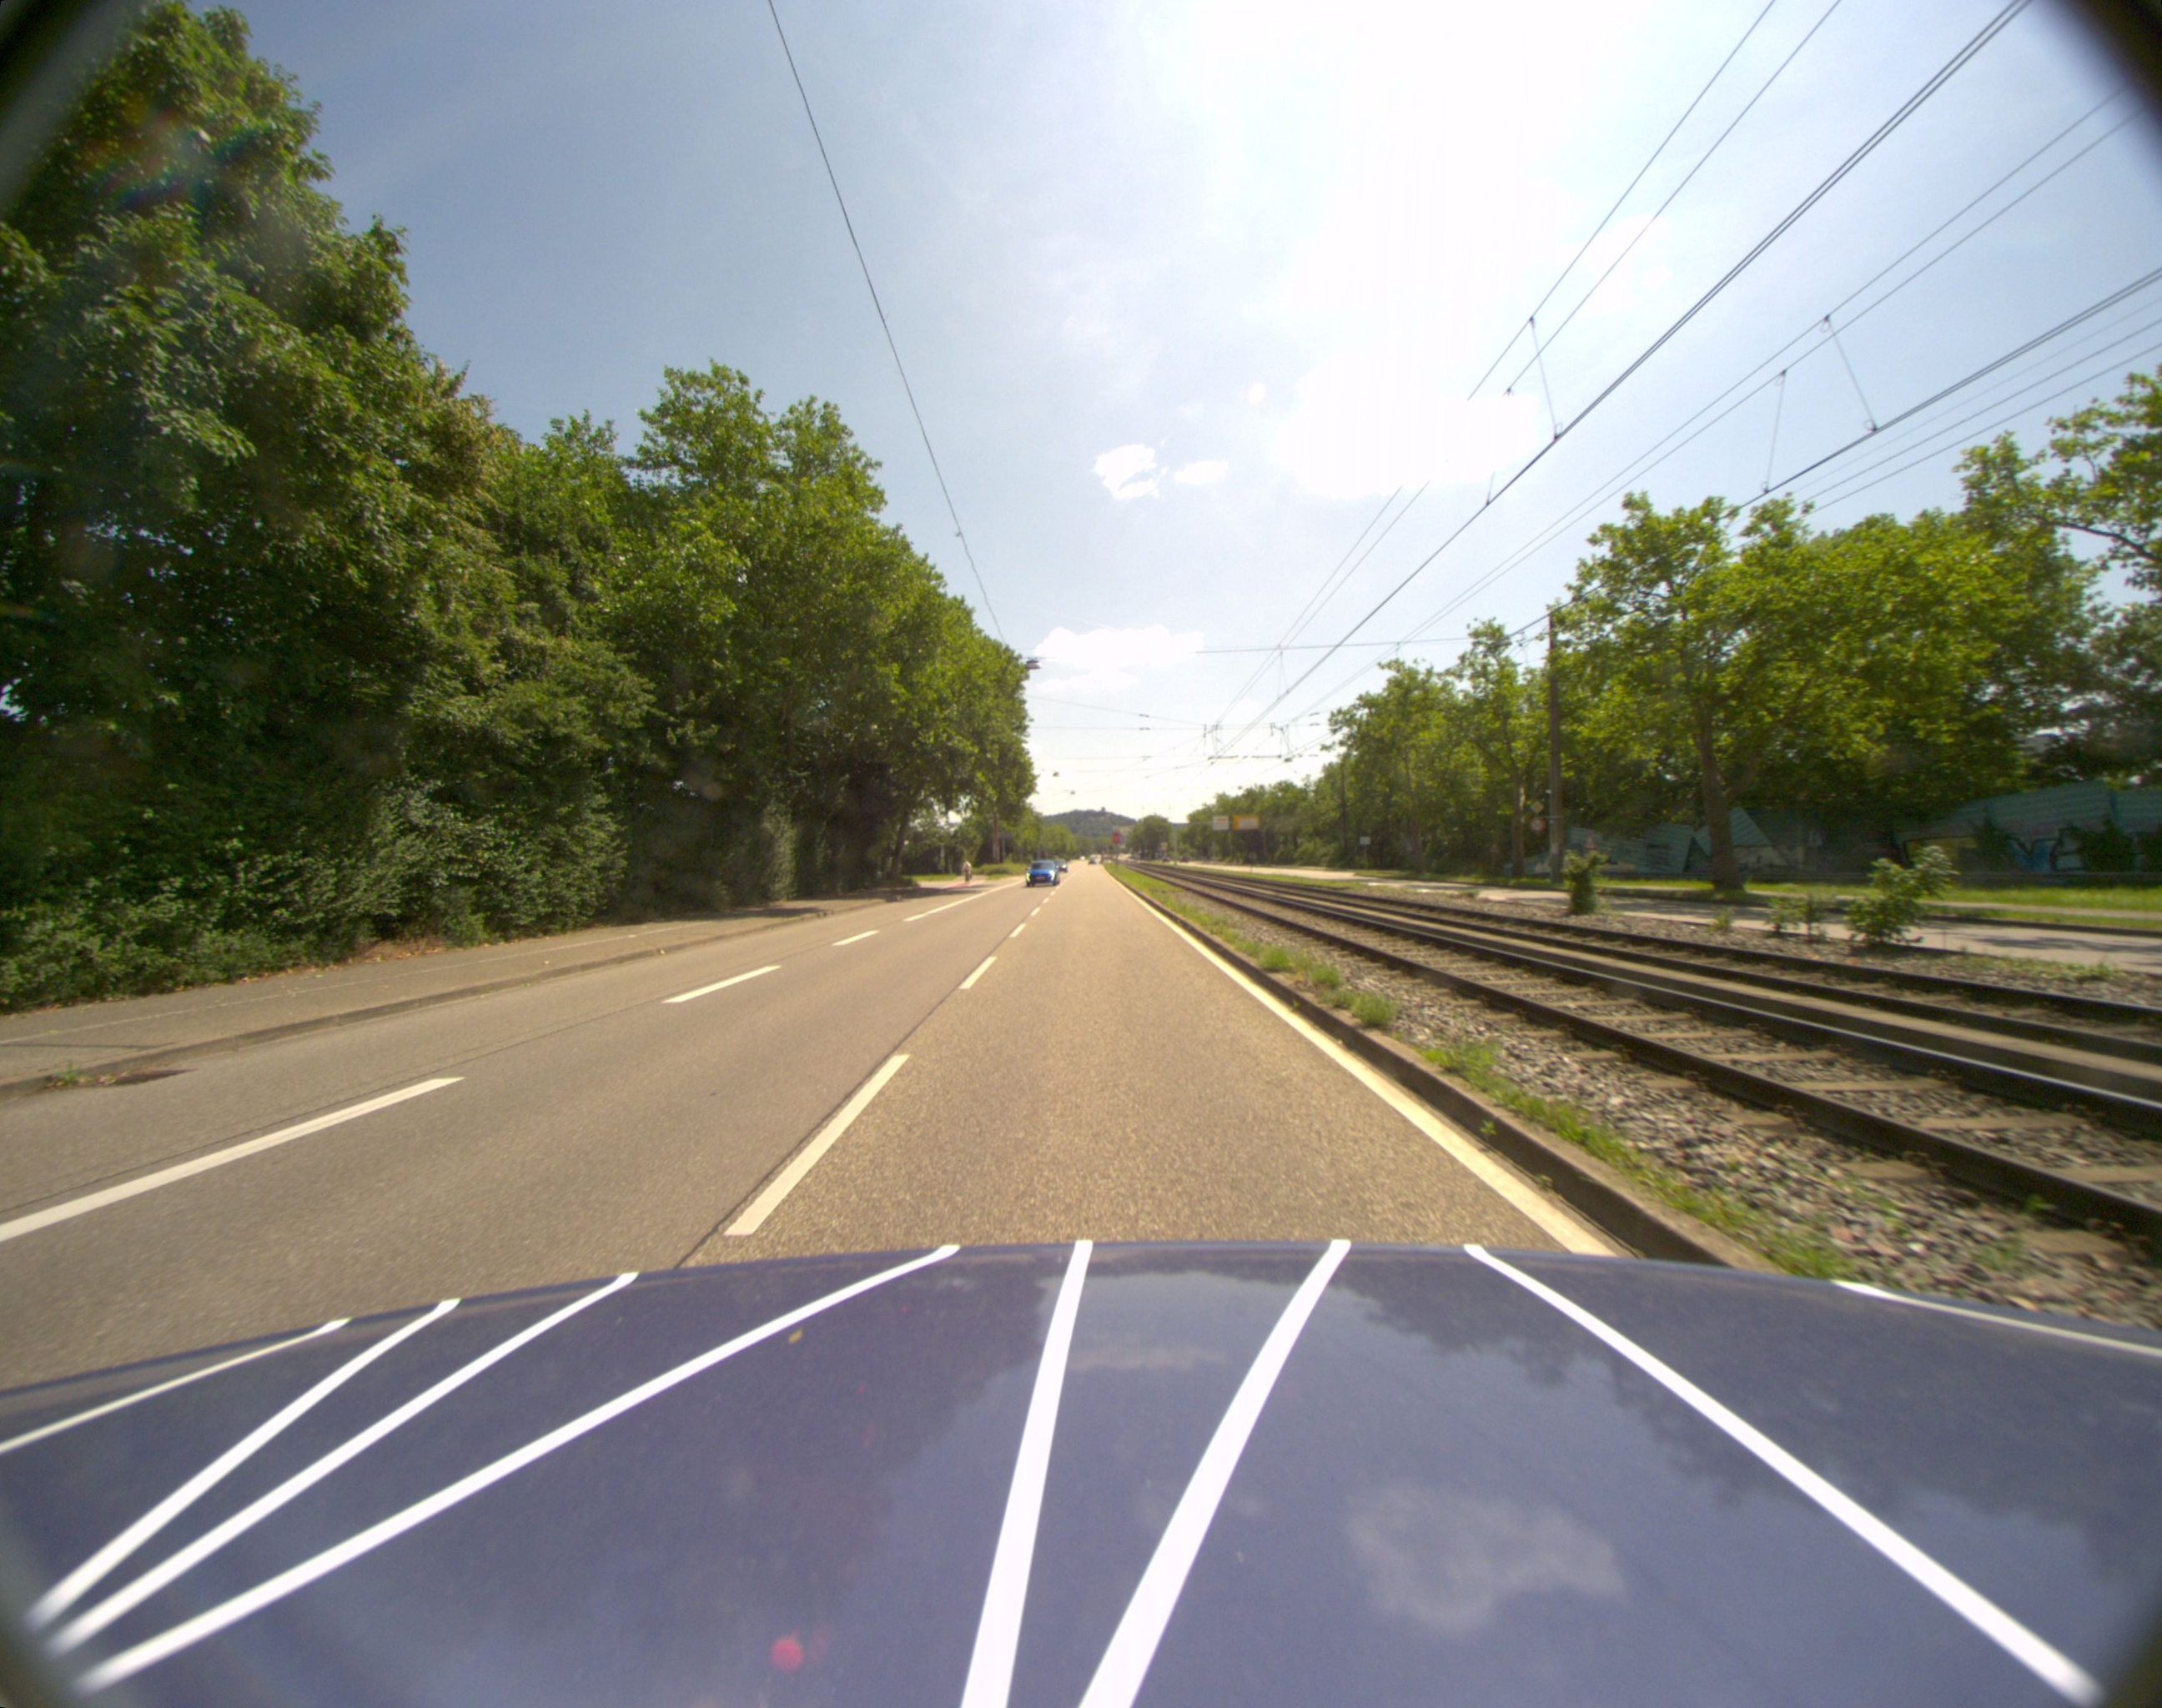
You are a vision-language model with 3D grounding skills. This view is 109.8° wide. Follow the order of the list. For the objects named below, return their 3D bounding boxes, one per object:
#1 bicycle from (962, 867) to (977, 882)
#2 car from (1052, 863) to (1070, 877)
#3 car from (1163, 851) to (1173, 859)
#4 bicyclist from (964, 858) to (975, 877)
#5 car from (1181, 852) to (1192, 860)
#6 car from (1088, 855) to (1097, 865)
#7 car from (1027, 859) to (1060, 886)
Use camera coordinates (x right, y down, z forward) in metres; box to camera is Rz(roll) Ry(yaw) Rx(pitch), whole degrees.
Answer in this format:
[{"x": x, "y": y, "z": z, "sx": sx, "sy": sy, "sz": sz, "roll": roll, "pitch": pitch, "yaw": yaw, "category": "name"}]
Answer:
[{"x": -8.495, "y": 1.555, "z": 57.959, "sx": 0.710, "sy": 1.131, "sz": 2.538, "roll": -1, "pitch": 0, "yaw": 2, "category": "bicycle"}, {"x": -2.138, "y": 1.791, "z": 83.933, "sx": 1.769, "sy": 1.359, "sz": 3.743, "roll": -2, "pitch": 1, "yaw": 1, "category": "car"}, {"x": 21.892, "y": 0.294, "z": 191.032, "sx": 1.998, "sy": 1.783, "sz": 4.000, "roll": -2, "pitch": 1, "yaw": 1, "category": "car"}, {"x": -8.510, "y": 1.041, "z": 57.994, "sx": 0.704, "sy": 1.431, "sz": 0.641, "roll": -1, "pitch": 0, "yaw": 2, "category": "bicyclist"}, {"x": 25.091, "y": 0.454, "z": 180.264, "sx": 1.998, "sy": 1.783, "sz": 4.000, "roll": -2, "pitch": 1, "yaw": 1, "category": "car"}, {"x": 2.582, "y": 1.294, "z": 167.690, "sx": 1.998, "sy": 2.002, "sz": 4.000, "roll": -2, "pitch": 1, "yaw": 1, "category": "car"}, {"x": -2.150, "y": 1.023, "z": 44.338, "sx": 1.660, "sy": 1.397, "sz": 3.743, "roll": -2, "pitch": 1, "yaw": 0, "category": "car"}]
